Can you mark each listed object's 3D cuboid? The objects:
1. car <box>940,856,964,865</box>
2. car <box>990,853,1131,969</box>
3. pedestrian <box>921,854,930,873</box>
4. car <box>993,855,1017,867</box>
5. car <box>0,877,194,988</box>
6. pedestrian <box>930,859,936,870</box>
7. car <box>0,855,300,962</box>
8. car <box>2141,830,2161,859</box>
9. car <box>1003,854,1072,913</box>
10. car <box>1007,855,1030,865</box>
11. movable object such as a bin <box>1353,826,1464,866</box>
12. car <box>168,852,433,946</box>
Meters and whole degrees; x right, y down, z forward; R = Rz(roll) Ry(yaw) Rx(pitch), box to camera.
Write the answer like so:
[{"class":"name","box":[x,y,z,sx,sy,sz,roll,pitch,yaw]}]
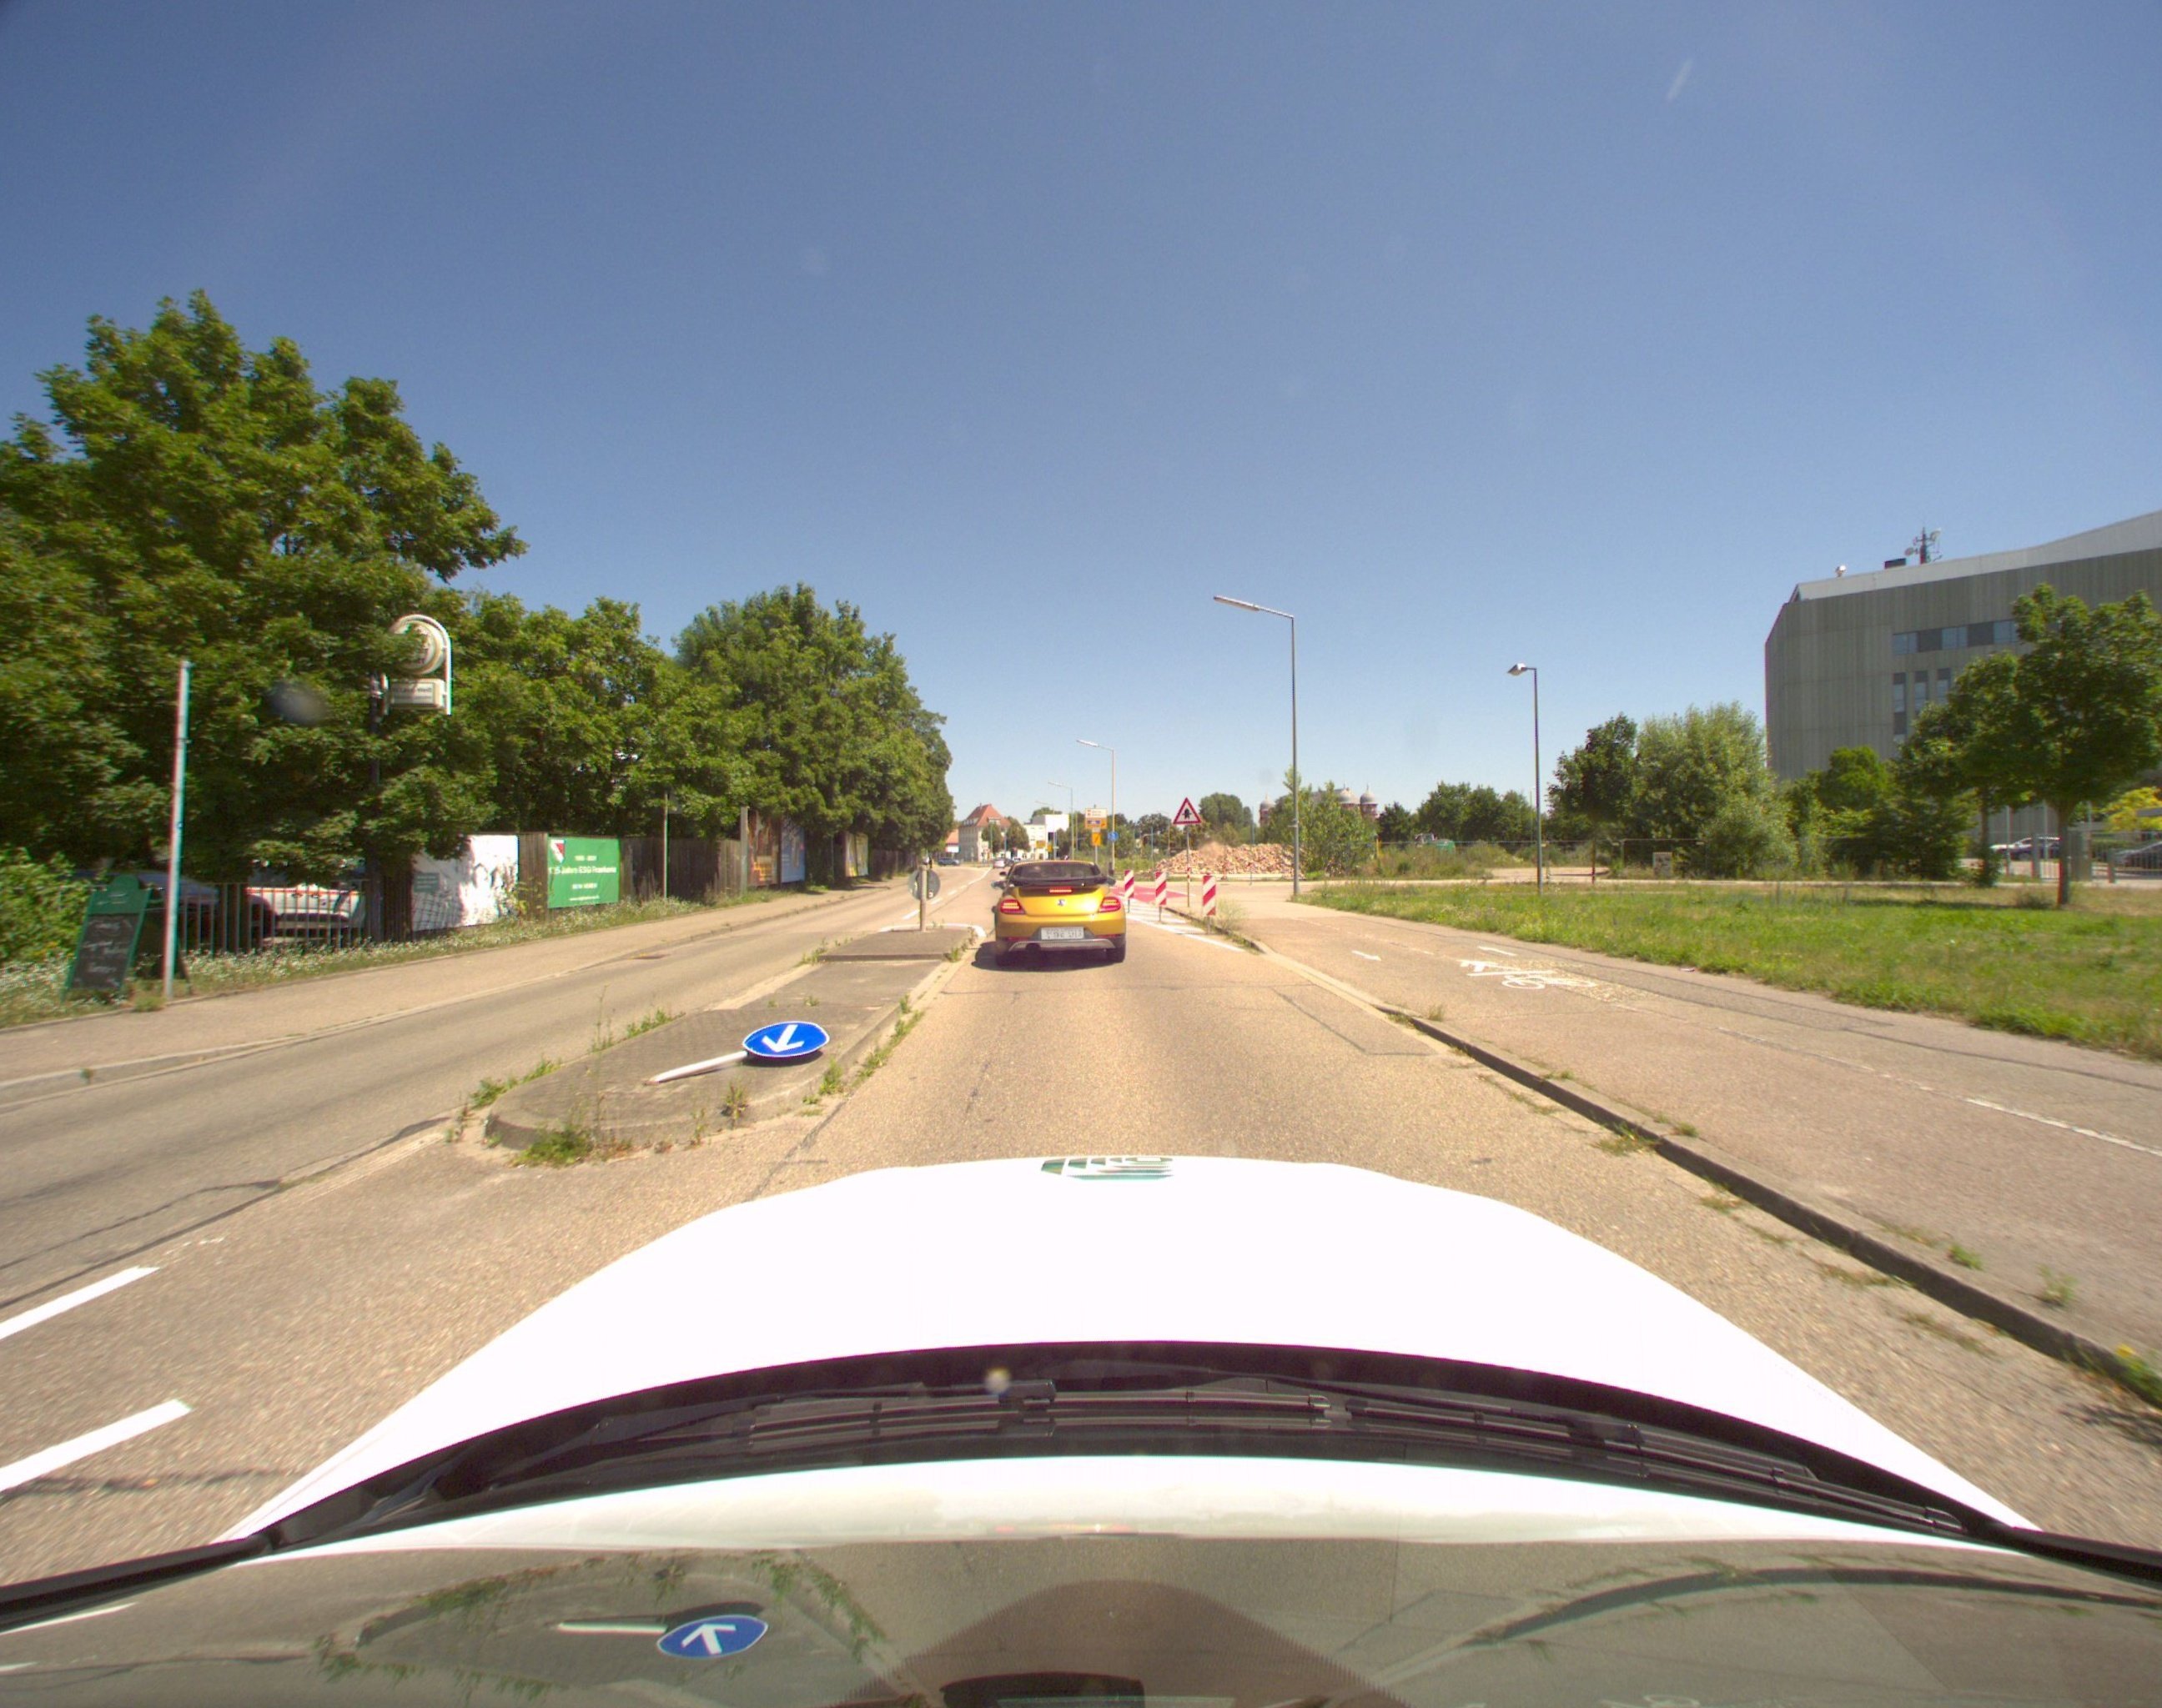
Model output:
[{"class":"car","box":[-23.890,1.230,150.916,3.973,1.553,1.993,0,0,1]},{"class":"car","box":[-0.361,0.730,12.352,1.786,1.436,3.809,-1,0,-3]},{"class":"pedestrian","box":[-13.997,0.837,73.256,0.722,1.725,0.815,-1,0,-10]},{"class":"car","box":[-13.595,1.284,146.094,3.971,2.013,2.001,-2,0,2]},{"class":"car","box":[-16.616,1.189,12.502,3.853,1.526,1.808,-1,0,-3]},{"class":"pedestrian","box":[-20.335,1.478,111.757,0.722,1.454,0.815,-1,0,-10]},{"class":"car","box":[-18.486,1.013,15.783,4.803,1.840,2.001,-2,0,2]},{"class":"car","box":[56.131,-0.536,39.713,5.014,1.436,2.013,-2,0,35]},{"class":"car","box":[-1.288,0.762,22.655,1.724,1.443,3.992,-1,0,-6]},{"class":"car","box":[-11.545,1.128,150.751,3.972,1.679,2.260,-2,0,1]},{"class":"movable object such as a bin","box":[29.415,-0.630,73.961,4.935,3.260,10.442,-1,0,-7]},{"class":"car","box":[-18.393,1.013,19.377,4.301,1.977,1.779,-1,0,-7]}]
